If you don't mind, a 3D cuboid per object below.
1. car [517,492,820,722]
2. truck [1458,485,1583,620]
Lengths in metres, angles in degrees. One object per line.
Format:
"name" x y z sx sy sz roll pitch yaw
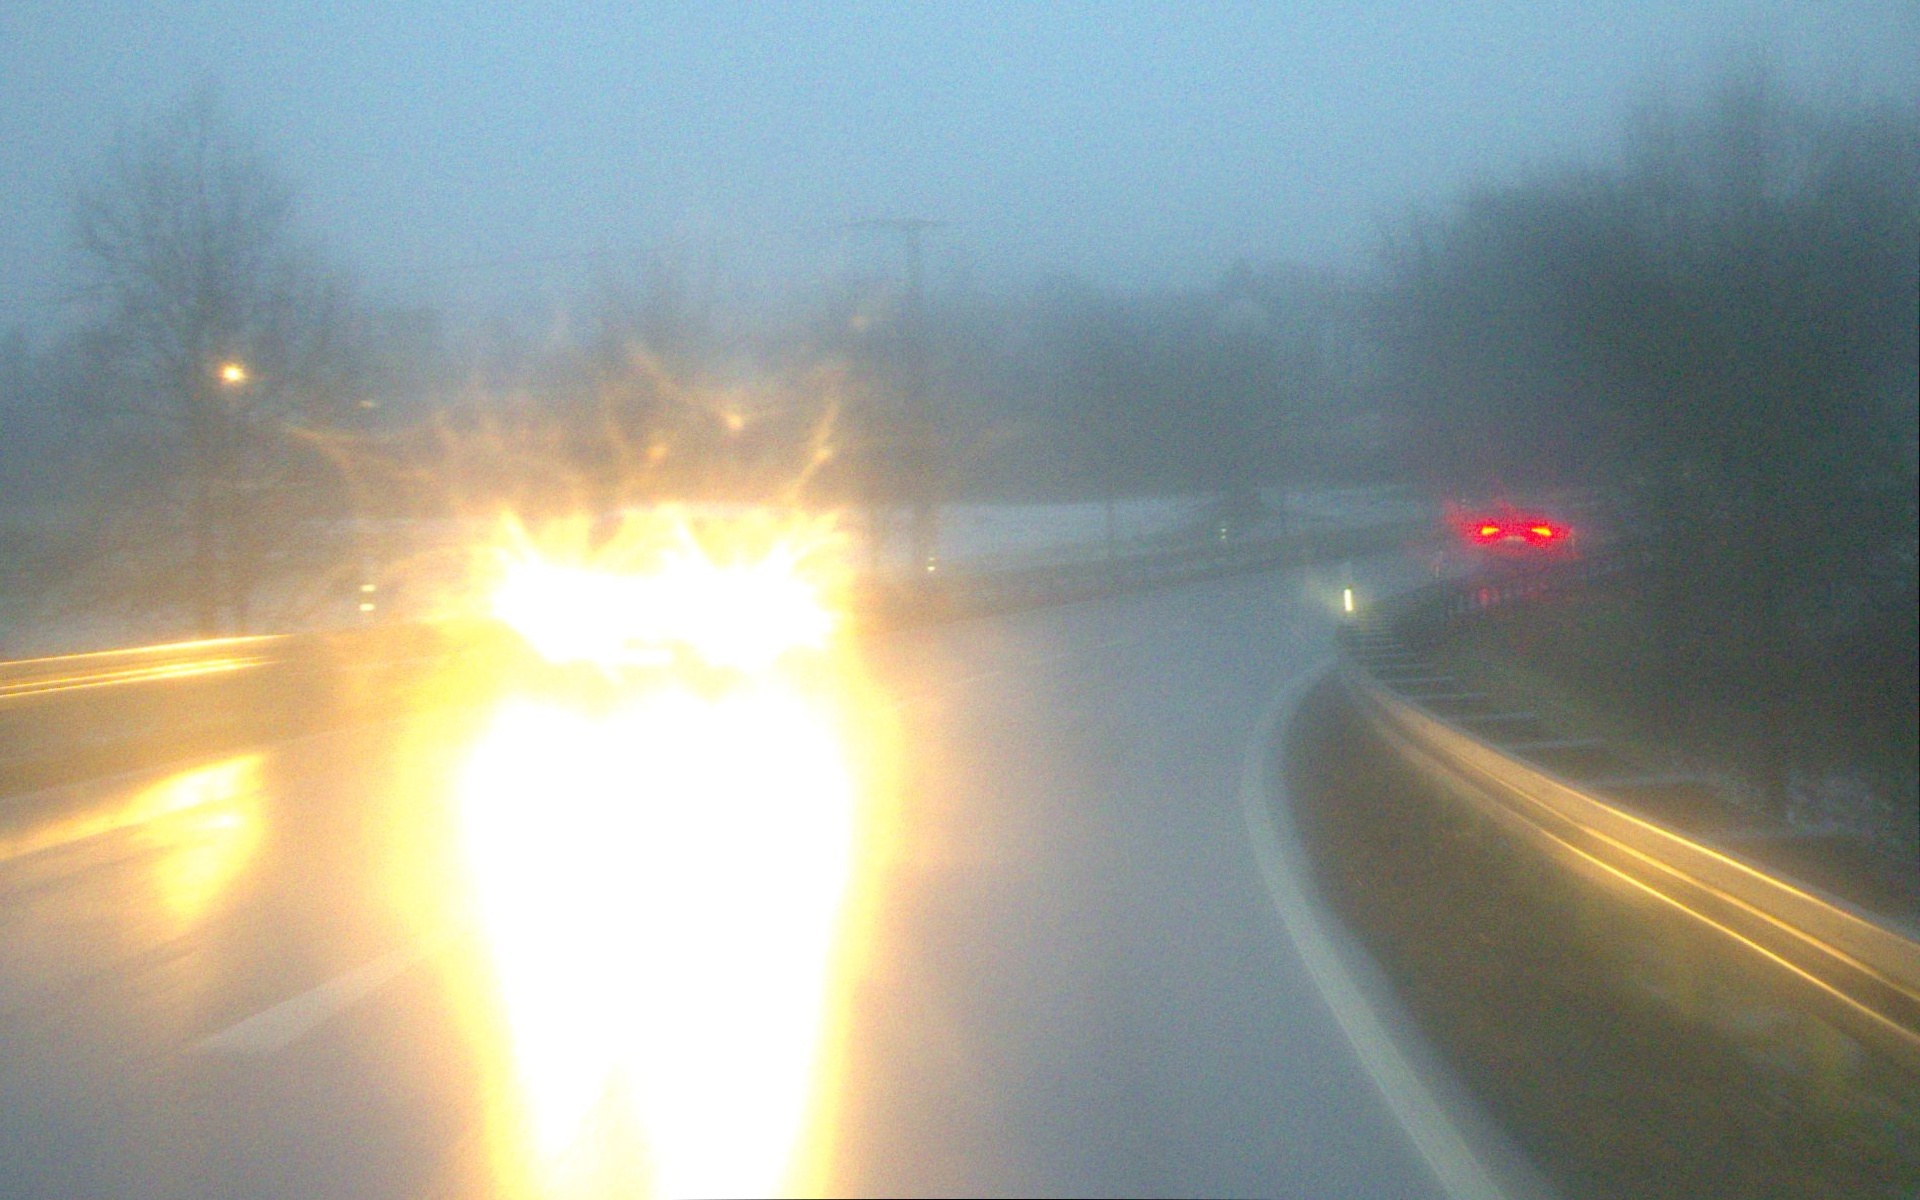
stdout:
"car" -2.474 -0.009 30.474 1.883 1.857 5.006 0 2 4
"truck" 13.713 -1.204 83.814 2.533 2.859 5.920 -1 4 13
